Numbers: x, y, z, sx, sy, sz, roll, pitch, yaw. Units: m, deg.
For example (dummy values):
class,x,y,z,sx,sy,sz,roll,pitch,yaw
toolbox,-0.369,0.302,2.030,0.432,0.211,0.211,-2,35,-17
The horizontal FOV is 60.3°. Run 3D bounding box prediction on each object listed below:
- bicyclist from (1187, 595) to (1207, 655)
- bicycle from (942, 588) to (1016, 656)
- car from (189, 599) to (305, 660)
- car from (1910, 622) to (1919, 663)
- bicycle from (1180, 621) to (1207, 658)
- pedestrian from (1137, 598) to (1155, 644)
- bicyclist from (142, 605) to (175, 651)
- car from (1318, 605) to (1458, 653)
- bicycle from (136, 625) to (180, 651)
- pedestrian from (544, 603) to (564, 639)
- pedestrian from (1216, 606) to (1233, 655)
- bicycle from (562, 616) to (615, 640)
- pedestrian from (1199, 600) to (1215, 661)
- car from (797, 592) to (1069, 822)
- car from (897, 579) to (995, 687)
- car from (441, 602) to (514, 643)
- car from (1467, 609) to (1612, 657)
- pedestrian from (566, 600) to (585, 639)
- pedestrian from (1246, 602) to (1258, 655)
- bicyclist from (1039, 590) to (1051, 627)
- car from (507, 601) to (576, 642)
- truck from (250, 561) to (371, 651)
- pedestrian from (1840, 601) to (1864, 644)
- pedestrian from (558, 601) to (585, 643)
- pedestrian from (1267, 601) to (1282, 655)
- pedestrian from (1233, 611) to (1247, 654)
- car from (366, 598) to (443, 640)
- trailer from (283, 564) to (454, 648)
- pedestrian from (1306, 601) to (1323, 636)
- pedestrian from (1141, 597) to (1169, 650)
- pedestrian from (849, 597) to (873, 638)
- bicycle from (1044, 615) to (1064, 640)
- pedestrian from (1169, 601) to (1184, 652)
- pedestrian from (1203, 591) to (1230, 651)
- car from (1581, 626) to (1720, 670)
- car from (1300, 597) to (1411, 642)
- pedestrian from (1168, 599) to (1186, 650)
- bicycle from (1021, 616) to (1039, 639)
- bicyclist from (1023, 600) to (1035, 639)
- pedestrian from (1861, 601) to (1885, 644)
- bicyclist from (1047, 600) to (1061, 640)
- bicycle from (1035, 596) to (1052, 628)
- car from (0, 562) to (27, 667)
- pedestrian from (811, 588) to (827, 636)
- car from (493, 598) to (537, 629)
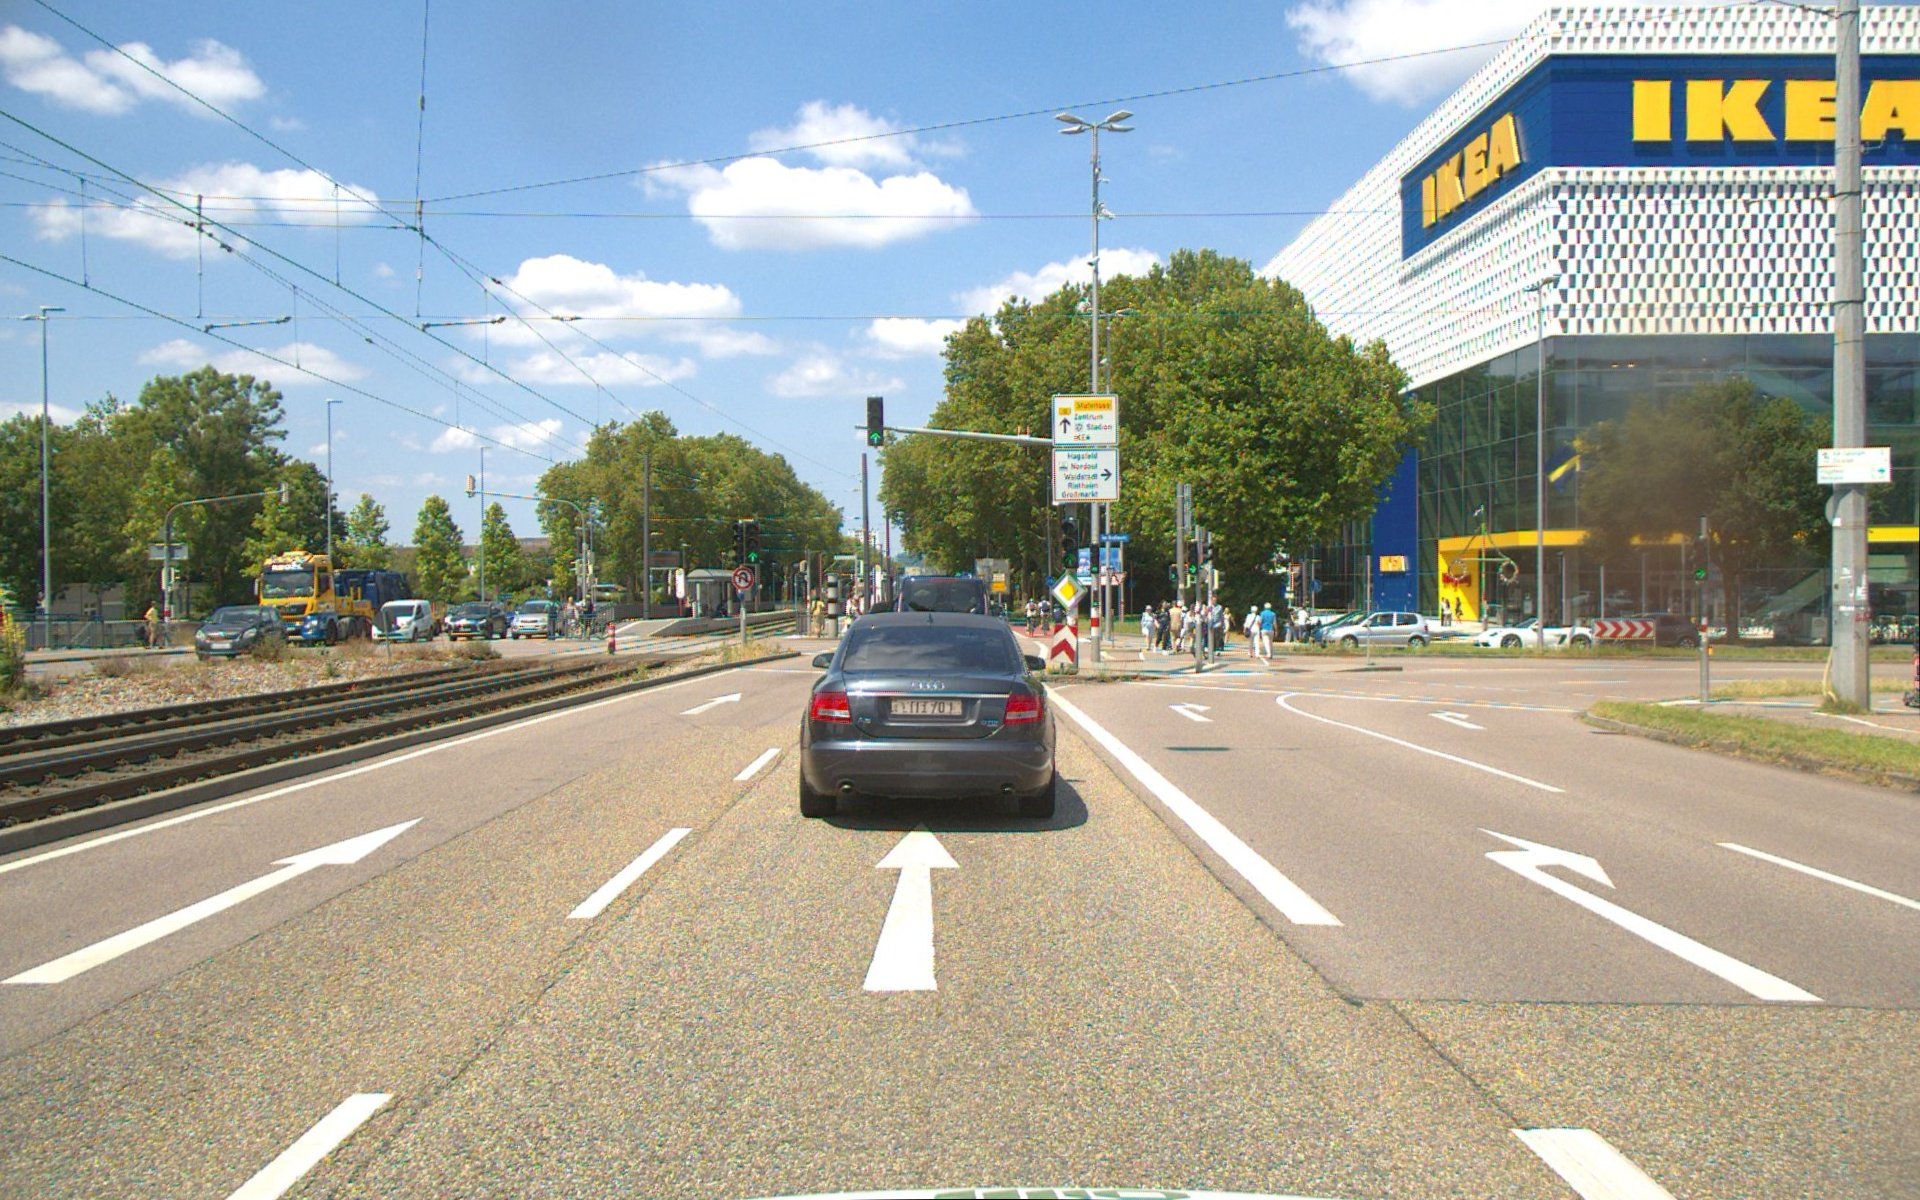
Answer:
class,x,y,z,sx,sy,sz,roll,pitch,yaw
bicyclist,7.102,0.746,49.599,0.517,1.795,0.828,0,-1,12
bicycle,0.649,0.685,52.443,1.951,2.049,4.003,1,0,6
car,-21.485,0.848,50.013,1.786,1.699,4.458,1,0,-4
car,38.320,1.675,61.818,4.403,1.512,2.001,2,0,3
bicycle,7.009,1.173,49.511,0.645,1.040,1.863,1,0,13
pedestrian,6.374,0.714,56.598,0.483,1.546,0.707,1,0,16
bicyclist,-31.863,1.117,65.759,1.097,1.805,0.340,1,0,-6
car,15.039,1.000,58.283,4.403,1.512,2.001,2,0,3
bicycle,-31.883,1.505,65.751,1.461,1.004,0.485,1,0,-5
pedestrian,-16.421,0.854,66.885,0.671,1.468,0.572,0,-1,-4
pedestrian,9.171,1.064,57.387,0.510,1.699,0.494,1,0,2
bicycle,-14.786,1.112,65.924,2.019,0.941,0.751,1,0,-11
pedestrian,6.784,0.830,45.501,0.373,1.663,0.377,1,0,2
car,-0.198,0.677,12.655,1.756,1.480,3.999,0,0,-1
car,-0.295,0.617,32.529,1.799,1.984,3.999,0,0,-1
car,-21.340,0.965,73.314,1.784,1.699,4.462,1,0,2
car,20.386,1.141,58.298,4.403,1.512,2.001,2,0,3
pedestrian,-15.800,0.813,68.007,0.671,1.592,0.572,0,-1,-4
pedestrian,9.122,0.889,51.667,0.314,1.663,0.377,1,0,2
bicyclist,4.154,0.426,81.034,0.518,1.820,1.088,0,-1,-1
car,-18.623,0.928,73.703,1.784,1.699,4.462,1,0,2
truck,-27.576,0.249,70.527,2.711,3.631,6.438,1,0,-1
pedestrian,42.519,1.061,78.817,0.696,2.049,0.824,1,0,1
pedestrian,-16.300,0.917,69.437,0.806,1.750,0.775,1,-1,21
pedestrian,9.809,0.873,51.664,0.389,1.663,0.371,1,0,2
pedestrian,8.754,1.012,51.766,0.365,1.326,0.365,1,0,2
car,-24.110,0.806,71.975,1.785,1.699,4.461,1,0,0
trailer,-27.713,0.266,78.649,2.711,3.580,15.874,1,0,-1
pedestrian,16.179,0.844,75.472,0.690,1.571,0.678,1,0,18
pedestrian,6.234,0.752,52.933,0.699,1.663,0.706,1,0,25
pedestrian,-3.888,0.690,64.940,0.728,1.583,0.606,1,0,36
bicycle,4.054,1.189,71.142,0.673,1.023,2.751,1,0,0
pedestrian,7.088,0.857,54.092,0.435,1.663,0.430,1,0,2
pedestrian,8.183,0.659,52.688,0.671,1.878,0.706,1,0,25
car,25.828,1.787,61.989,4.403,1.512,2.001,1,0,2
car,14.734,0.707,61.771,3.710,1.512,2.001,2,0,3
pedestrian,7.085,0.789,54.070,0.542,1.663,0.433,1,0,2
bicycle,3.249,1.251,76.816,0.673,1.011,2.751,1,0,0
bicyclist,3.223,0.906,77.347,0.518,1.820,1.088,0,-1,0
pedestrian,43.599,1.082,78.978,0.696,2.049,0.824,1,0,1
bicyclist,4.062,0.845,71.259,0.518,1.705,1.088,0,-1,-1
bicycle,4.119,0.579,81.483,0.673,1.545,2.751,1,0,0
car,-24.866,0.417,39.632,2.202,2.634,6.222,-2,1,-9
pedestrian,-6.046,0.530,70.765,0.672,2.049,0.572,0,-1,-5
car,-28.033,0.859,104.294,1.781,1.916,3.999,1,0,-1
